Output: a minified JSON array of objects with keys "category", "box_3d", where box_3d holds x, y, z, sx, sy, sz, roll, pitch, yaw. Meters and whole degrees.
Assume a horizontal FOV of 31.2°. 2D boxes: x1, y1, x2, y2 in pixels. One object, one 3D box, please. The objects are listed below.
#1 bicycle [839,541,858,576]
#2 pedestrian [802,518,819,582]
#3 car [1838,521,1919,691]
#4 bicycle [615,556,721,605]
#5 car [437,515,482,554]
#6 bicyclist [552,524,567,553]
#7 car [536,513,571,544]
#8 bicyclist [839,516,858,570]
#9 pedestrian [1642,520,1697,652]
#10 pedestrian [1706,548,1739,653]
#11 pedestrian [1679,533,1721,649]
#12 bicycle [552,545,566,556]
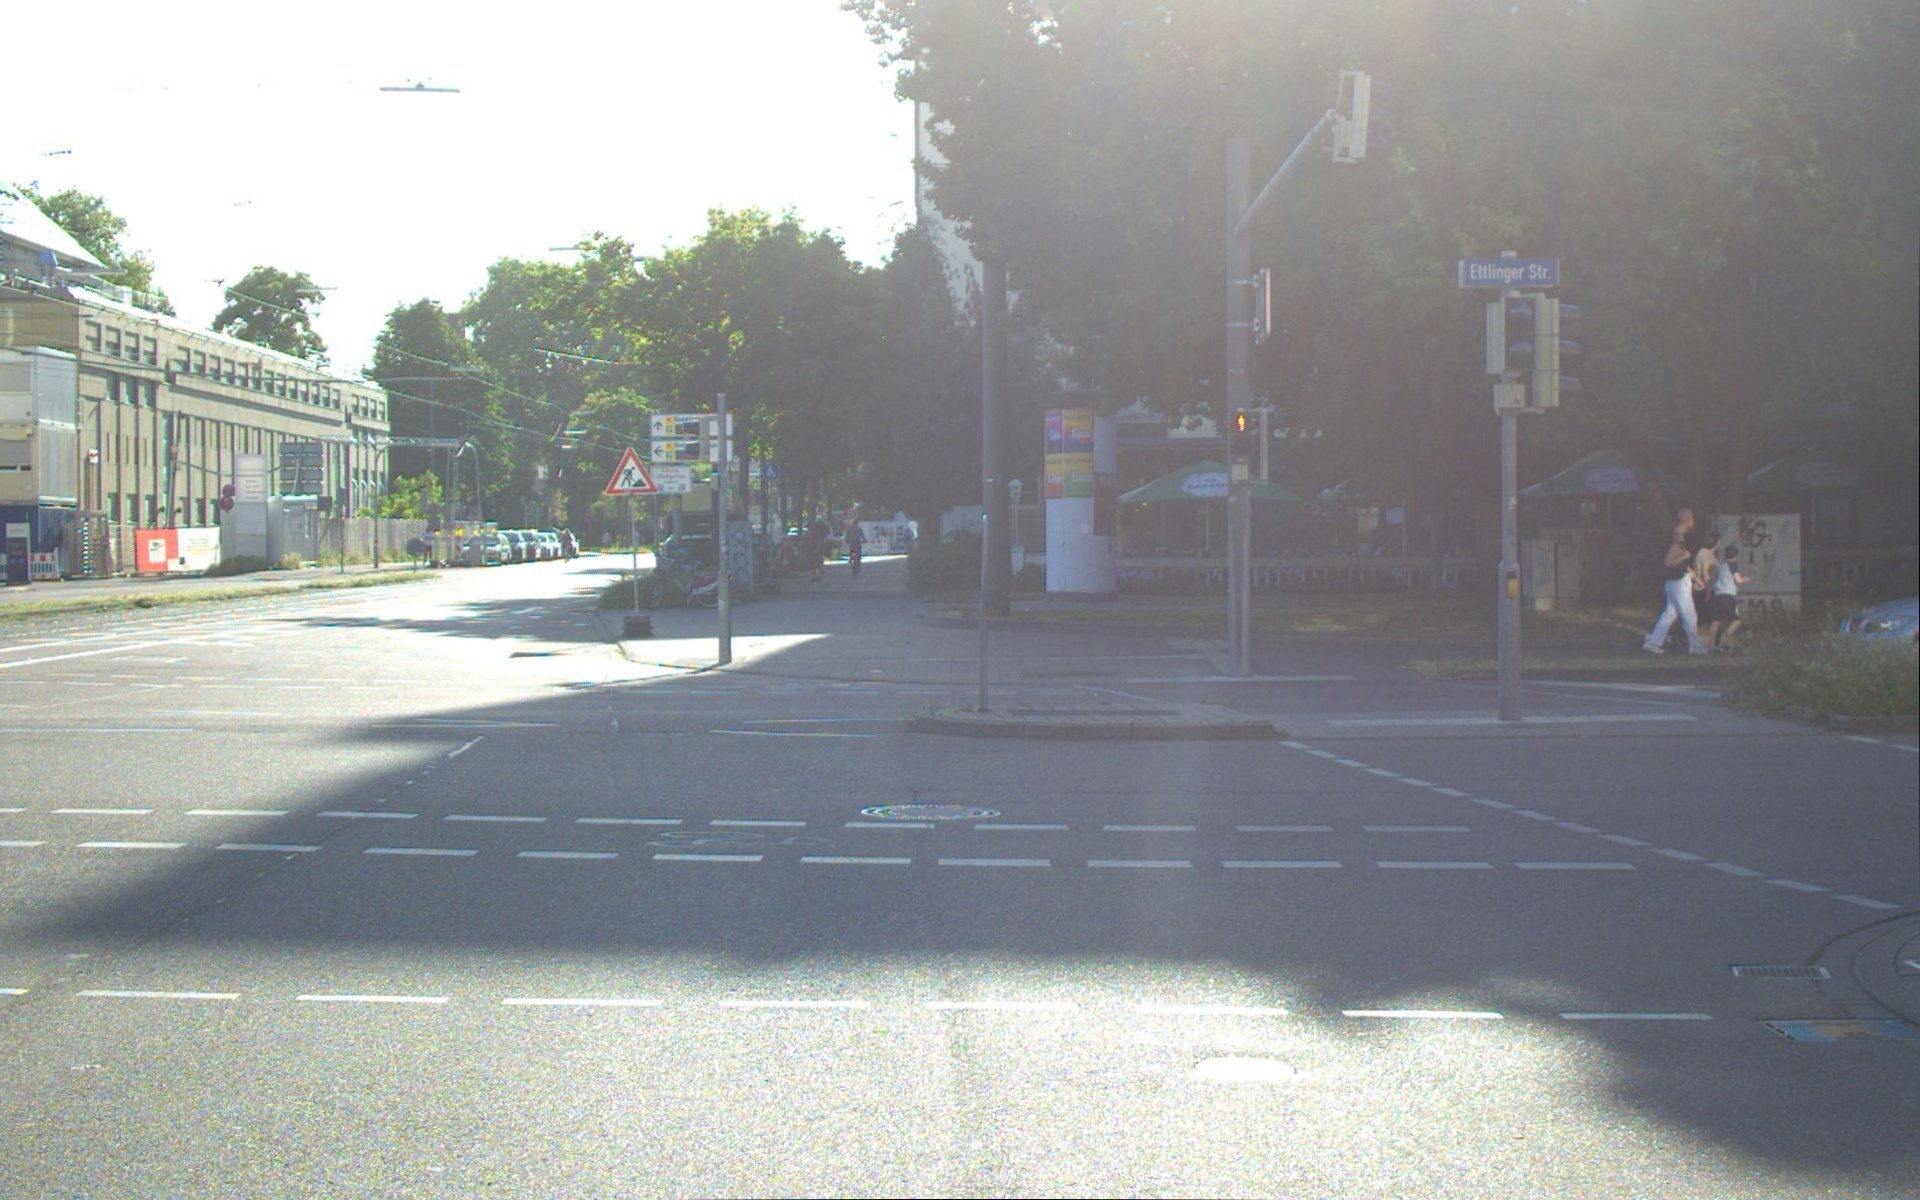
[{"category":"bicycle","box_3d":[-3.496,-1.302,108.132,0.575,1.073,1.831,0,1,-1]},{"category":"pedestrian","box_3d":[-4.279,-1.426,98.251,0.463,1.807,0.503,0,1,-5]},{"category":"car","box_3d":[10.751,0.022,33.404,3.993,1.605,1.650,-1,1,-1]},{"category":"bicycle","box_3d":[-5.730,-0.384,67.475,2.018,0.888,0.650,-2,0,27]},{"category":"car","box_3d":[-22.768,-2.968,156.440,1.692,1.712,4.248,1,1,-4]},{"category":"bicyclist","box_3d":[-18.680,-2.864,160.279,0.596,1.372,0.638,1,0,-2]},{"category":"car","box_3d":[-23.004,-4.032,194.686,1.692,1.712,4.248,1,1,-4]},{"category":"bicyclist","box_3d":[-3.497,-1.800,108.135,0.569,1.685,0.700,0,1,-1]},{"category":"pedestrian","box_3d":[9.088,-0.185,44.065,0.583,1.657,0.514,1,2,2]},{"category":"pedestrian","box_3d":[9.651,0.003,43.508,0.317,1.311,0.345,1,2,2]},{"category":"pedestrian","box_3d":[9.581,-0.122,44.517,0.439,1.498,0.437,0,1,1]},{"category":"bicycle","box_3d":[-18.688,-2.298,160.273,0.501,0.513,1.258,1,1,-1]}]
